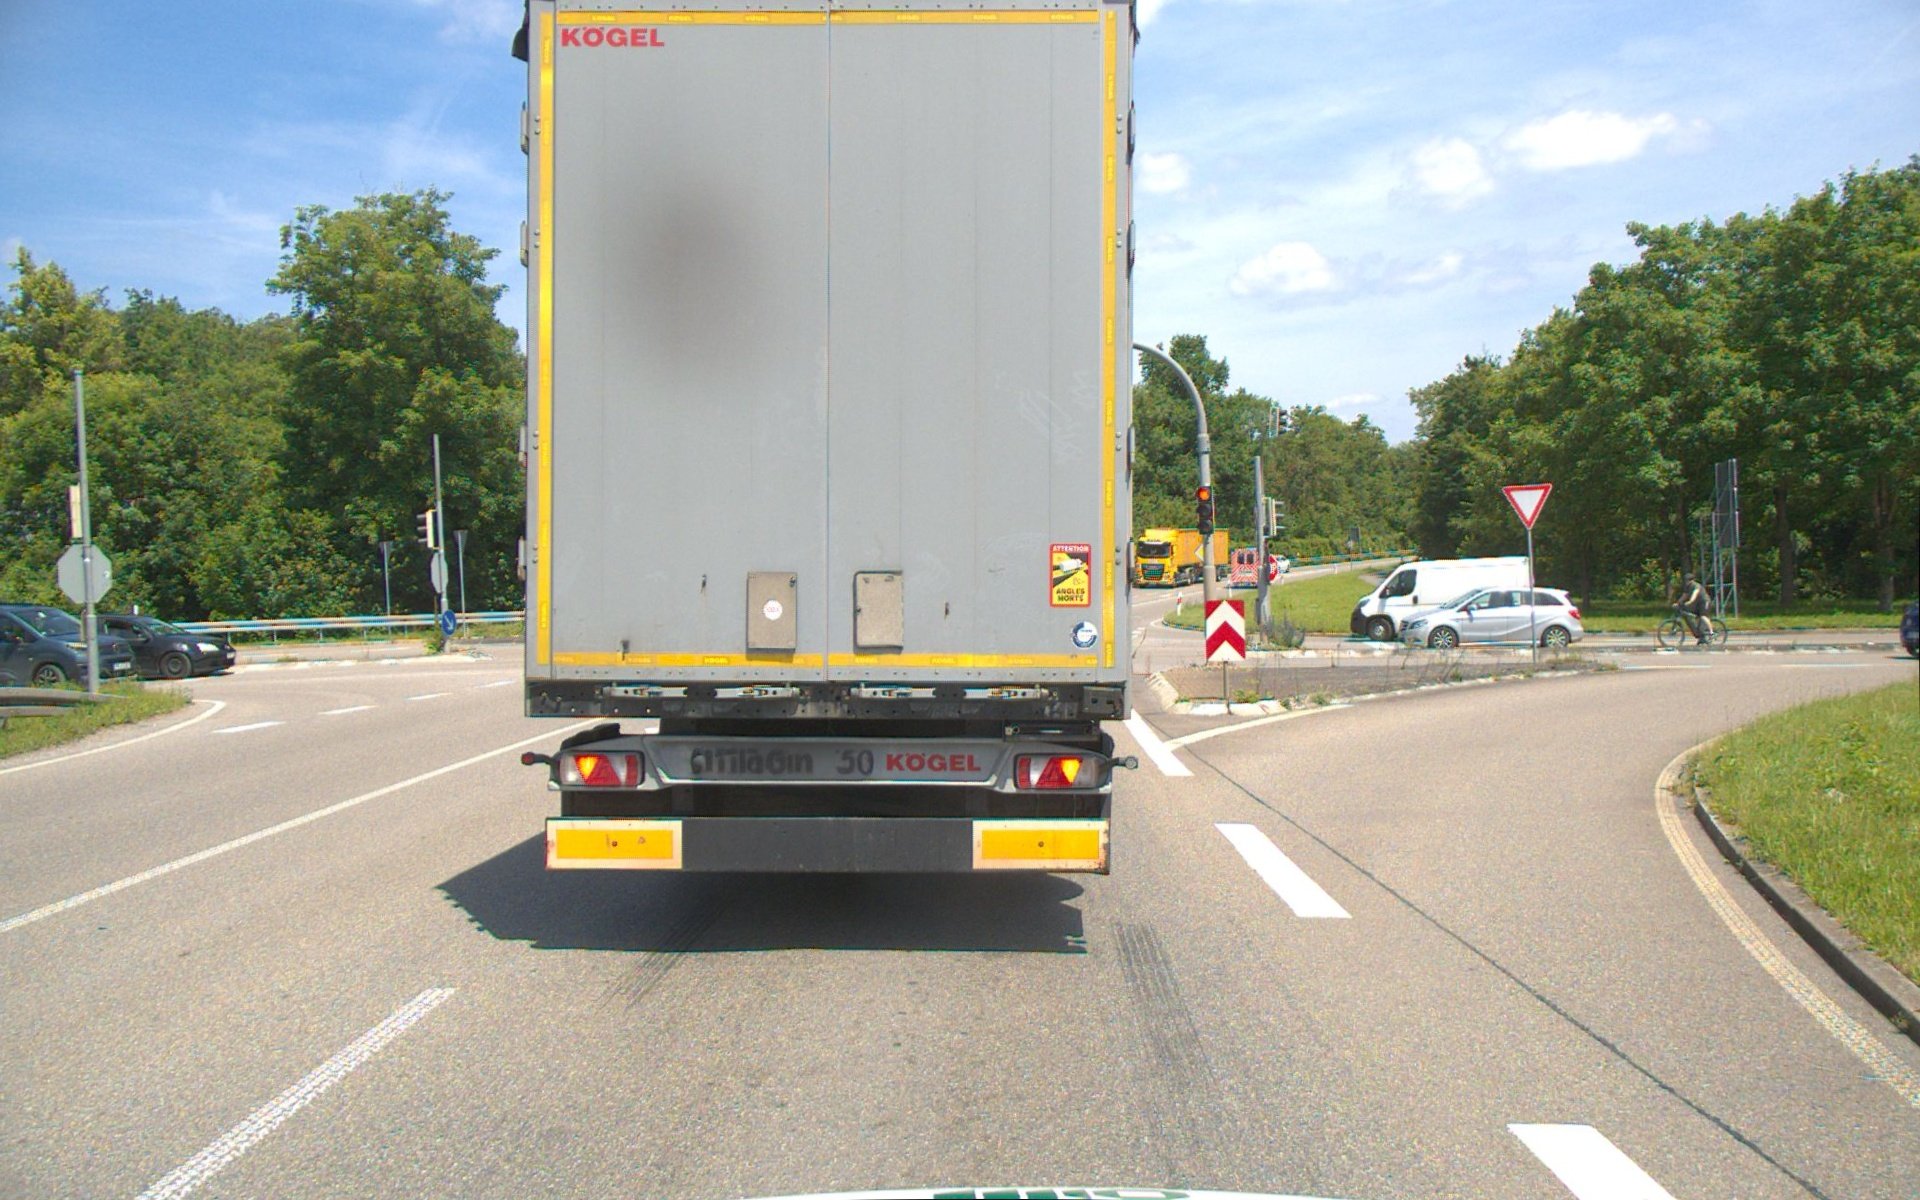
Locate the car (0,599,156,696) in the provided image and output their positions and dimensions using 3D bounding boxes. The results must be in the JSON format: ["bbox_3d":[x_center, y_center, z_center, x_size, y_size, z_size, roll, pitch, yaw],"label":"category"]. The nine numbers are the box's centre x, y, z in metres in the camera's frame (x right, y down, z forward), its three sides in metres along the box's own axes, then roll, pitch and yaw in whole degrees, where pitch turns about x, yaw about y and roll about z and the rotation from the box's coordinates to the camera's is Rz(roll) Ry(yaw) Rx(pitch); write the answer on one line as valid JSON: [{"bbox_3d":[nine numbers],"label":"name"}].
[{"bbox_3d":[-18.090,0.914,32.017,4.143,1.801,2.002,-1,-1,9],"label":"car"}]

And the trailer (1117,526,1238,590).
[{"bbox_3d":[16.933,-3.180,126.327,4.907,4.438,20.845,0,1,19],"label":"trailer"}]

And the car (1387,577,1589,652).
[{"bbox_3d":[12.793,0.368,40.311,4.334,1.749,2.001,0,-2,4],"label":"car"}]

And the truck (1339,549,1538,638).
[{"bbox_3d":[13.292,-0.136,45.957,5.045,2.336,1.998,0,-2,27],"label":"truck"}]

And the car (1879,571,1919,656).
[{"bbox_3d":[20.462,0.297,32.513,3.766,1.641,1.881,1,-2,0],"label":"car"}]

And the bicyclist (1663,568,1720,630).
[{"bbox_3d":[17.655,-0.013,39.939,0.985,1.474,0.795,1,-2,-3],"label":"bicyclist"}]

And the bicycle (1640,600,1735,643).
[{"bbox_3d":[17.571,0.526,39.955,1.949,1.013,0.796,1,-2,-4],"label":"bicycle"}]

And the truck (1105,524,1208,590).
[{"bbox_3d":[14.229,-3.032,118.590,4.907,4.438,11.769,0,1,19],"label":"truck"}]

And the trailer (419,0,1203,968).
[{"bbox_3d":[-0.455,-0.668,12.625,2.988,4.104,12.560,0,0,1],"label":"trailer"}]

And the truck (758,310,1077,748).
[{"bbox_3d":[-0.337,-0.678,18.883,2.975,4.104,6.630,0,0,1],"label":"truck"}]

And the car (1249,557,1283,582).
[{"bbox_3d":[27.274,-2.724,147.351,1.954,2.048,3.999,0,3,25],"label":"car"}]

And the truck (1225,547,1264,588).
[{"bbox_3d":[20.110,-2.273,116.696,2.440,2.775,6.036,0,0,13],"label":"truck"}]

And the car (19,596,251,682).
[{"bbox_3d":[-17.987,0.839,36.152,4.143,1.801,2.002,-1,-1,9],"label":"car"}]
